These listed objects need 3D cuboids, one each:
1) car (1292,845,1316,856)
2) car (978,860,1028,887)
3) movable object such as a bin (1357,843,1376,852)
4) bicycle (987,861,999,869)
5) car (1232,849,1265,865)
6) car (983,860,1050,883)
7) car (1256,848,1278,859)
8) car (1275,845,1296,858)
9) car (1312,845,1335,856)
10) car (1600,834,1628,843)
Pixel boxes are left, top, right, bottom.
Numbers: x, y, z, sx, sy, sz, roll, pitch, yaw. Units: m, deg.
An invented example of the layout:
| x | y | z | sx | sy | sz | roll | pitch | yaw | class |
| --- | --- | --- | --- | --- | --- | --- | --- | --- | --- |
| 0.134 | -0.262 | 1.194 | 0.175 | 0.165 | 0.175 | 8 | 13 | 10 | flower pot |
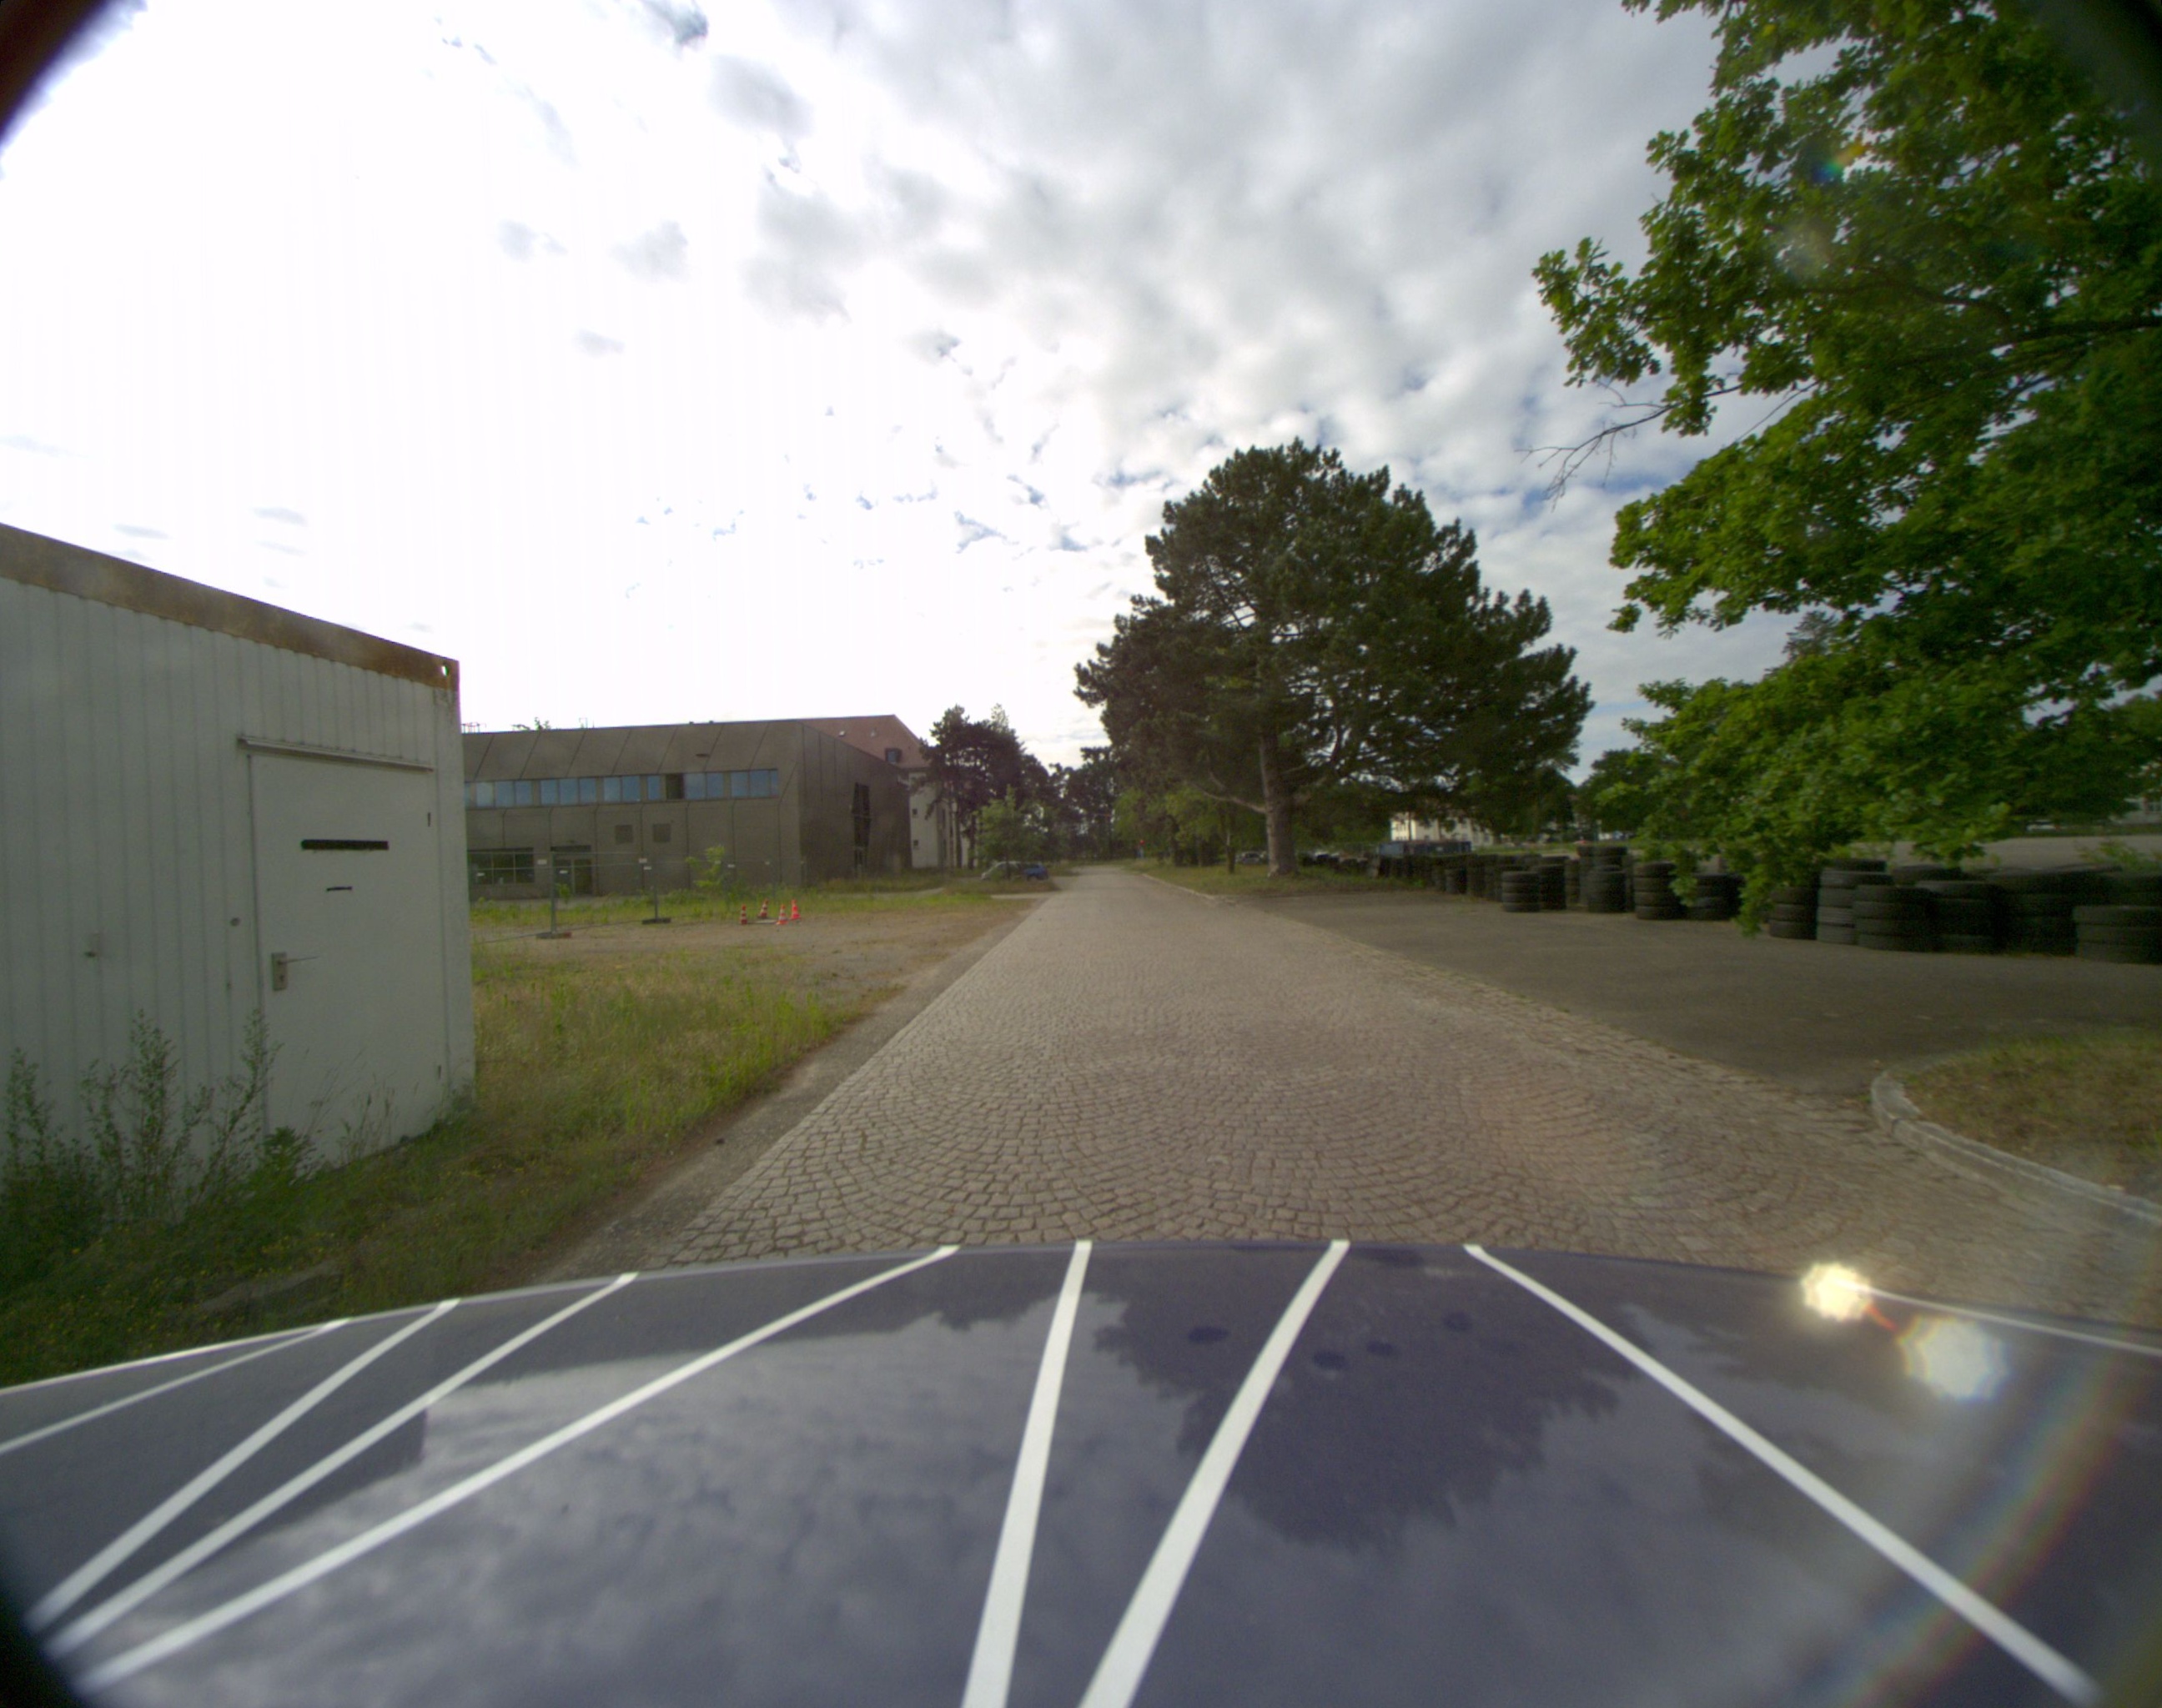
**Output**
| x | y | z | sx | sy | sz | roll | pitch | yaw | class |
| --- | --- | --- | --- | --- | --- | --- | --- | --- | --- |
| 30.532 | -0.433 | 104.099 | 1.829 | 1.466 | 4.401 | -2 | 0 | -2 | car |
| -4.603 | 1.131 | 45.005 | 2.716 | 1.547 | 1.654 | -1 | 0 | 3 | car |
| 34.358 | -0.782 | 91.417 | 1.447 | 0.963 | 1.957 | -3 | 0 | -6 | movable object such as a bin |
| -12.869 | 1.588 | 110.708 | 1.656 | 1.079 | 0.614 | -2 | 0 | -2 | bicycle |
| 14.648 | 0.270 | 66.487 | 1.829 | 1.408 | 4.421 | 0 | 0 | -1 | car |
| -4.389 | 1.180 | 52.297 | 4.502 | 1.466 | 1.830 | -1 | 0 | -2 | car |
| 25.378 | -0.108 | 103.708 | 1.829 | 1.417 | 4.319 | -2 | 0 | -2 | car |
| 27.879 | -0.319 | 103.722 | 1.674 | 1.510 | 3.899 | -2 | -2 | -2 | car |
| 33.335 | -0.460 | 104.546 | 1.637 | 1.391 | 4.037 | -2 | 0 | -2 | car |
| 79.924 | -2.313 | 113.996 | 1.709 | 1.343 | 4.406 | -2 | 0 | 12 | car |
